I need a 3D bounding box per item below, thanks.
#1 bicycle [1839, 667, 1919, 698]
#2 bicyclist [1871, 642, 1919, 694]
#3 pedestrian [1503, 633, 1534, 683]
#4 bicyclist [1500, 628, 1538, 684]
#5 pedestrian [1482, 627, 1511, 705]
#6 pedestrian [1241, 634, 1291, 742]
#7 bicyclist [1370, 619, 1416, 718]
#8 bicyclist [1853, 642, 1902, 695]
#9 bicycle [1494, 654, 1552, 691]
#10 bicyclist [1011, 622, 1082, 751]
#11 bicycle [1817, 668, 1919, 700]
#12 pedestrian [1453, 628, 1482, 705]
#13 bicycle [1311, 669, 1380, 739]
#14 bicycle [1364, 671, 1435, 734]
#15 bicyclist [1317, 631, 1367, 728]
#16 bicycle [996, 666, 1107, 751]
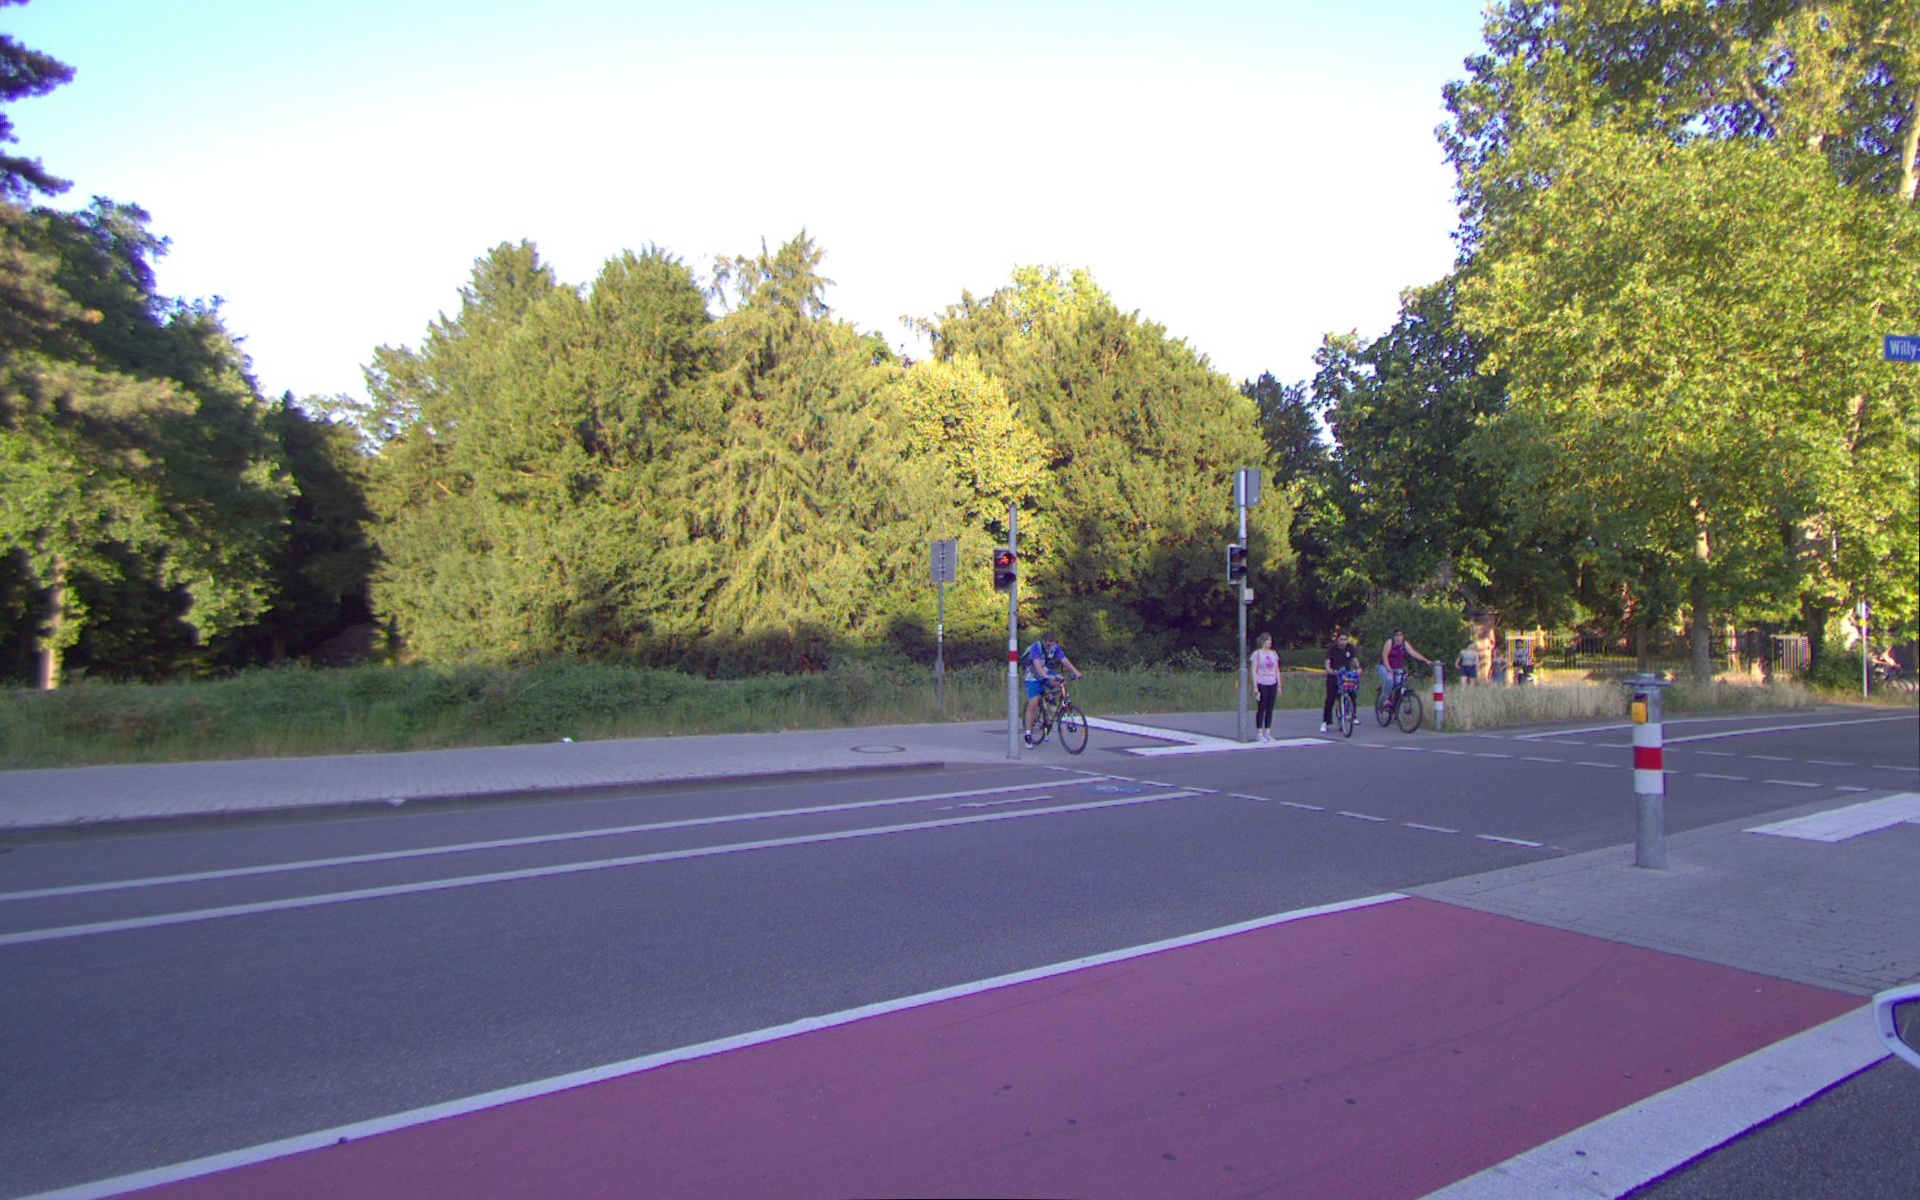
[{"bbox_3d":[30.655,2.715,33.122,0.765,0.936,2.420,1,-2,-29],"label":"bicycle"},{"bbox_3d":[30.713,2.213,32.996,0.743,1.652,0.954,1,-2,-29],"label":"bicyclist"},{"bbox_3d":[23.145,2.388,41.611,1.067,2.040,0.755,1,-1,-36],"label":"pedestrian"},{"bbox_3d":[18.069,1.793,32.504,0.742,1.751,0.945,1,-1,4],"label":"bicyclist"},{"bbox_3d":[14.387,1.754,26.938,0.584,2.040,0.642,0,-1,20],"label":"pedestrian"},{"bbox_3d":[4.992,1.411,16.392,0.492,1.718,0.604,1,-2,-28],"label":"pedestrian"},{"bbox_3d":[8.028,1.264,18.638,0.564,1.803,0.640,0,-2,1],"label":"bicyclist"},{"bbox_3d":[29.298,2.175,32.092,0.743,1.652,0.954,1,-2,-29],"label":"bicyclist"},{"bbox_3d":[18.155,2.321,32.448,0.727,1.046,2.298,1,-1,4],"label":"bicycle"},{"bbox_3d":[1.287,1.266,14.990,0.730,1.848,0.705,2,-1,-33],"label":"bicyclist"},{"bbox_3d":[29.192,2.676,32.256,0.765,0.936,2.420,1,-2,-29],"label":"bicycle"},{"bbox_3d":[13.731,1.779,27.196,0.638,2.040,0.606,0,-1,22],"label":"pedestrian"},{"bbox_3d":[6.677,1.782,17.476,0.620,1.126,1.569,0,-2,1],"label":"bicycle"},{"bbox_3d":[8.024,1.850,18.412,0.568,1.043,1.772,0,-2,1],"label":"bicycle"},{"bbox_3d":[6.681,1.376,17.599,0.618,1.671,0.640,0,-2,1],"label":"bicyclist"},{"bbox_3d":[1.315,1.563,14.921,0.761,1.115,2.111,1,-2,-23],"label":"bicycle"}]
